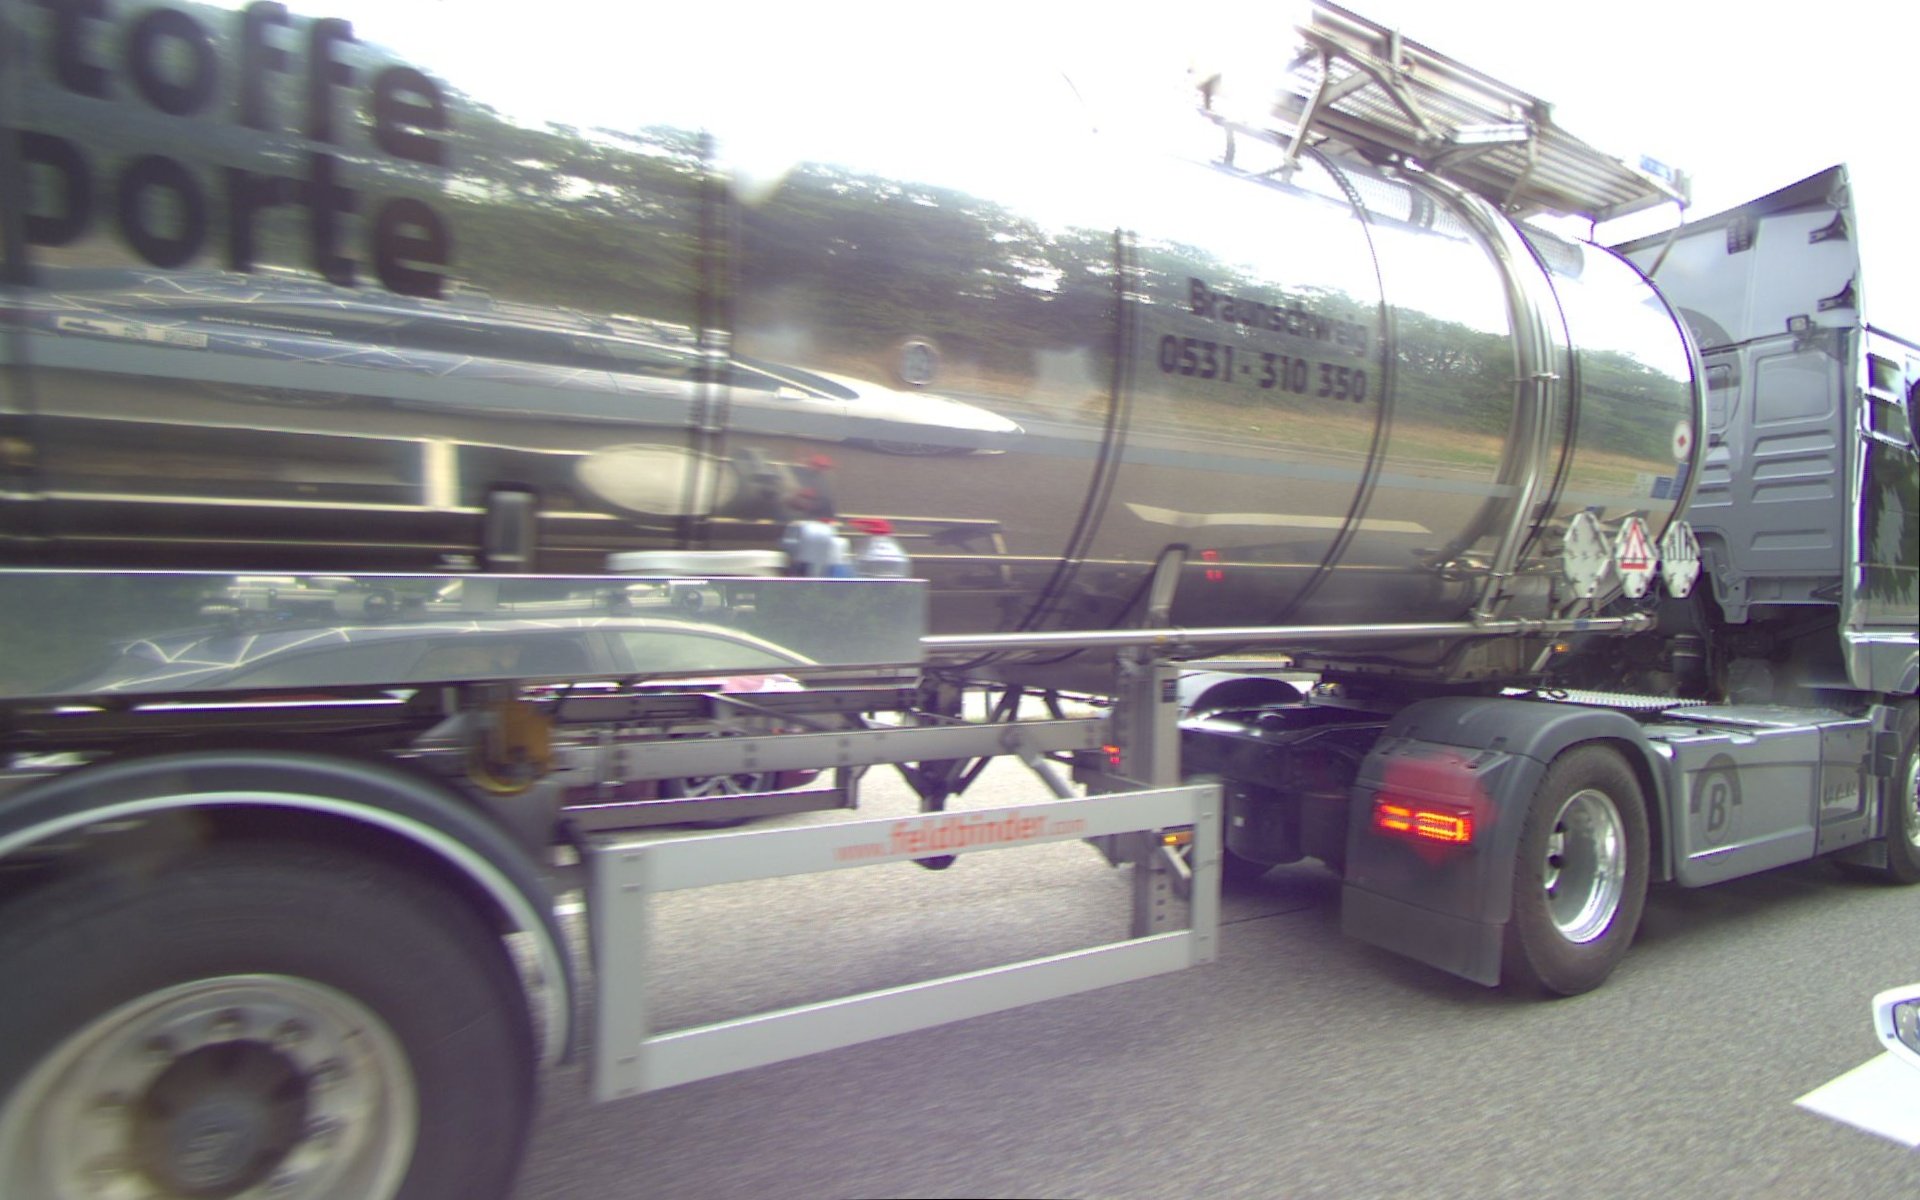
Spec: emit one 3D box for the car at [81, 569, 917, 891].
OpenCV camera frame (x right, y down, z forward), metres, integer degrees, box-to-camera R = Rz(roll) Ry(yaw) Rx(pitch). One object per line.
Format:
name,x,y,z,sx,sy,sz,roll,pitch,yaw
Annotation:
car,-2.618,0.662,6.567,4.415,1.517,1.668,1,-1,-30

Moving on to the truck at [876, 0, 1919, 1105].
truck,3.178,-0.476,5.824,6.858,3.959,2.669,1,-1,-32

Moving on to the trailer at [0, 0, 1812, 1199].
trailer,-1.317,-0.547,3.068,10.860,3.959,2.669,1,-1,-31
